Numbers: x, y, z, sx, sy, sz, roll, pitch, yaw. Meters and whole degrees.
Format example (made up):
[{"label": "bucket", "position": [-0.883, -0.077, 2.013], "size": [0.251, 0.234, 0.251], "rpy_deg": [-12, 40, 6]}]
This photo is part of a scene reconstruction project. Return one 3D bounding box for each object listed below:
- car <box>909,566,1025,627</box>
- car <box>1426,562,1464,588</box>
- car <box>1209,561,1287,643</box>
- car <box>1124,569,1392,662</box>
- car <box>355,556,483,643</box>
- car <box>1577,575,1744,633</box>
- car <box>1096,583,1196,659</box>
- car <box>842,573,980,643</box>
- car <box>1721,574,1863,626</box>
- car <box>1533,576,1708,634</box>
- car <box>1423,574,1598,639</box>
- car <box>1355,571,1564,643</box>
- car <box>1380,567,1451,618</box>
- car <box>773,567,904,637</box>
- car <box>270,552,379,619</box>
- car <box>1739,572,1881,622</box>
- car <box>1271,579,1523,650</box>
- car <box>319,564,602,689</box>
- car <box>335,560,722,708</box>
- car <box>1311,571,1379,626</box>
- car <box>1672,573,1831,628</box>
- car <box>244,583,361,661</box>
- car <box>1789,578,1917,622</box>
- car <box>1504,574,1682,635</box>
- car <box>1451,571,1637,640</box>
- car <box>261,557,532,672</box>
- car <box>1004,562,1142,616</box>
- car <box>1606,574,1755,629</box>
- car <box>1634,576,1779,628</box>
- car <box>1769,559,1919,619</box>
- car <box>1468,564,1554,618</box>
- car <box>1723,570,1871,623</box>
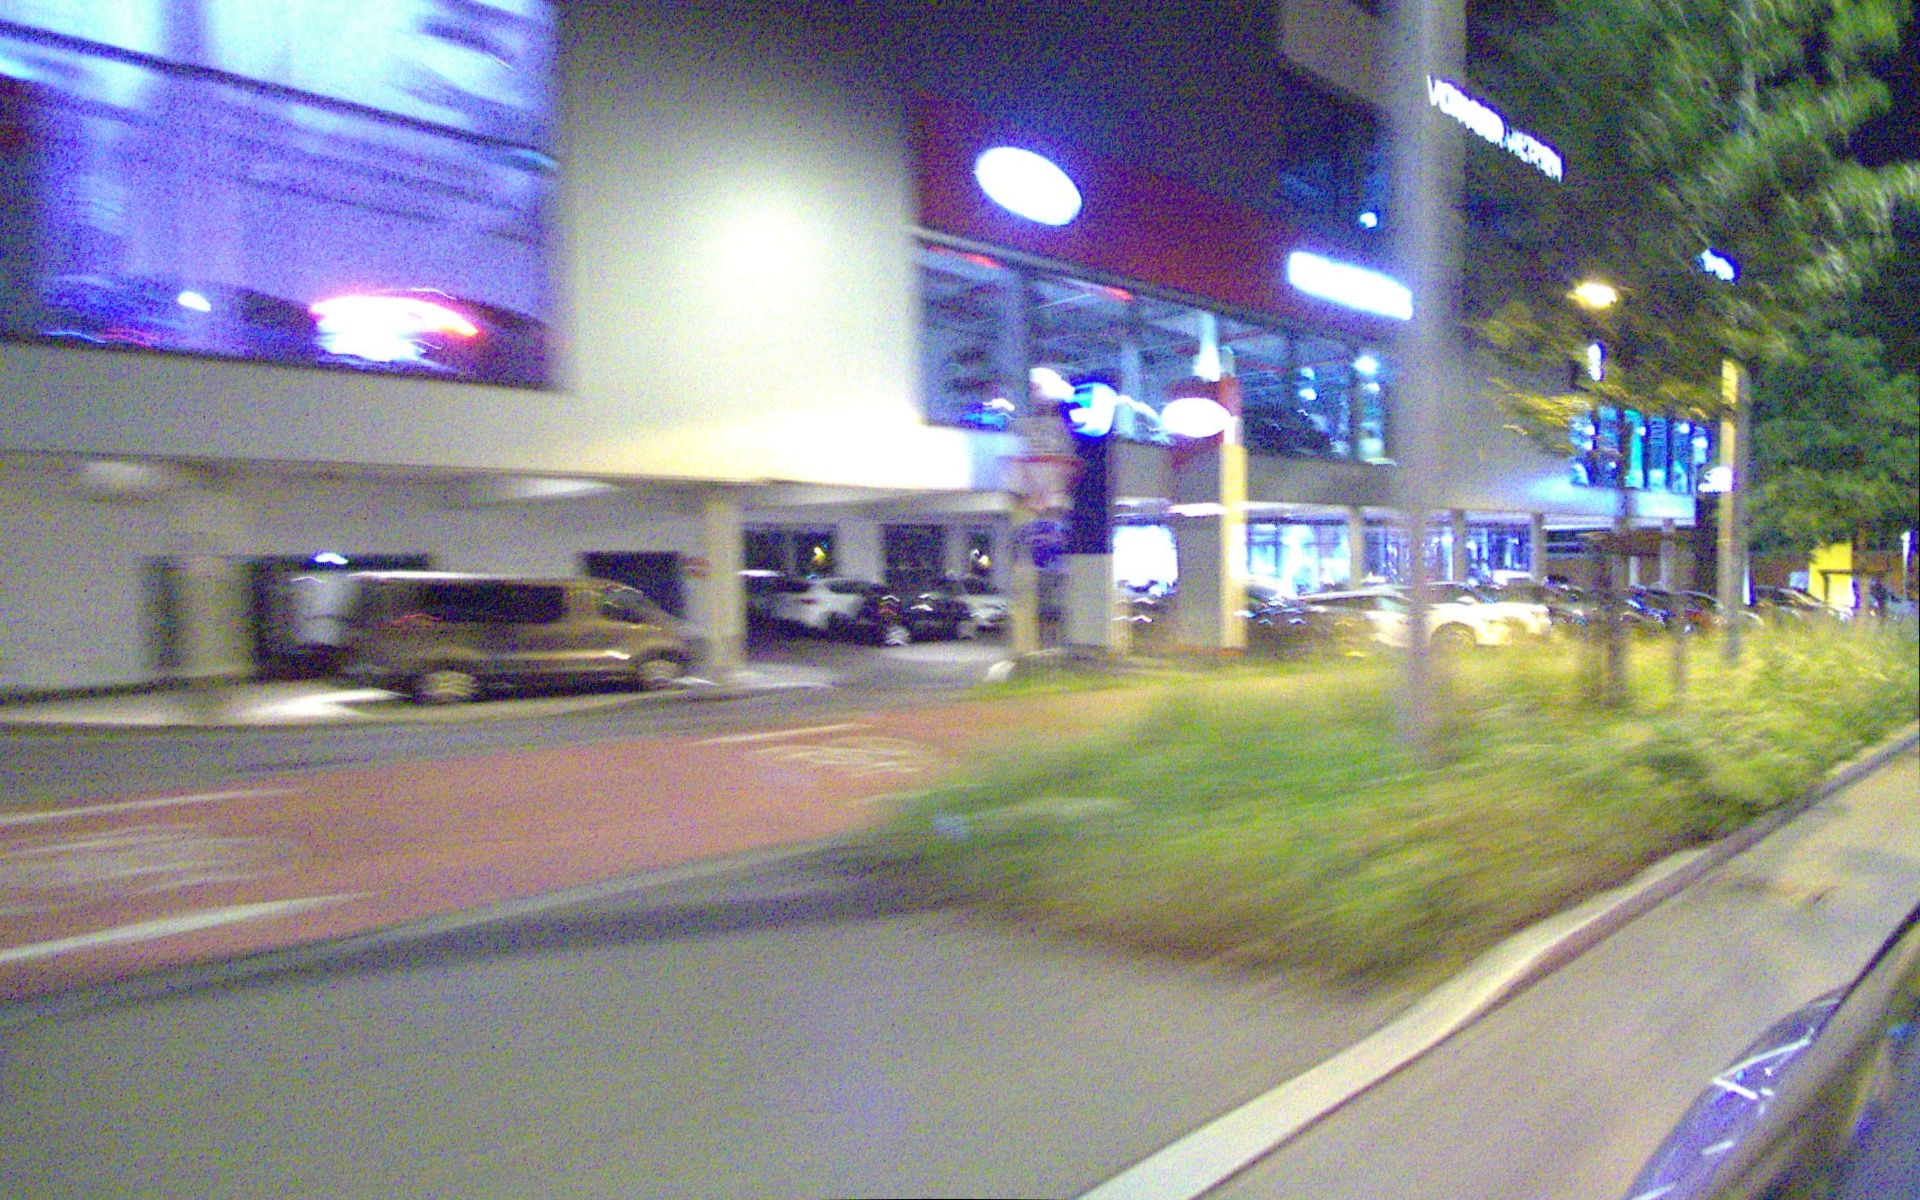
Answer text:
[{"label": "car", "position": [0.169, -0.164, 30.272], "size": [1.717, 1.604, 3.490], "rpy_deg": [-3, 4, -37]}, {"label": "car", "position": [32.422, -1.671, 67.567], "size": [1.983, 1.682, 4.621], "rpy_deg": [1, 2, 29]}, {"label": "car", "position": [7.211, -0.023, 25.650], "size": [1.564, 1.817, 3.860], "rpy_deg": [0, 4, 11]}, {"label": "car", "position": [5.120, 0.215, 17.649], "size": [4.114, 1.438, 1.851], "rpy_deg": [0, 1, 39]}, {"label": "car", "position": [-13.692, -0.044, 25.555], "size": [3.703, 2.039, 1.721], "rpy_deg": [1, 1, 42]}, {"label": "car", "position": [21.373, 0.082, 31.018], "size": [4.014, 1.390, 1.802], "rpy_deg": [6, 4, 36]}, {"label": "car", "position": [4.336, 0.391, 23.113], "size": [1.754, 1.426, 4.317], "rpy_deg": [0, 3, 17]}, {"label": "car", "position": [-1.222, 0.157, 26.324], "size": [3.362, 1.531, 1.634], "rpy_deg": [-4, 5, -44]}, {"label": "car", "position": [32.235, -0.045, 39.283], "size": [4.080, 1.587, 1.827], "rpy_deg": [7, 5, 42]}, {"label": "car", "position": [19.118, 0.100, 29.385], "size": [3.986, 1.397, 1.781], "rpy_deg": [5, 3, 42]}, {"label": "car", "position": [13.149, 0.112, 24.331], "size": [3.581, 1.451, 1.663], "rpy_deg": [1, 1, 29]}, {"label": "car", "position": [11.123, 0.120, 22.609], "size": [3.974, 1.442, 1.885], "rpy_deg": [1, 0, 35]}, {"label": "car", "position": [14.252, -0.265, 31.825], "size": [1.605, 1.482, 3.772], "rpy_deg": [1, 1, 18]}, {"label": "car", "position": [-3.288, 0.003, 27.616], "size": [3.247, 1.660, 1.635], "rpy_deg": [-3, 6, -44]}, {"label": "car", "position": [-20.970, -0.490, 33.307], "size": [4.585, 2.039, 2.041], "rpy_deg": [1, 1, 44]}, {"label": "car", "position": [36.223, -0.173, 43.231], "size": [4.459, 1.832, 1.970], "rpy_deg": [5, 3, 42]}, {"label": "car", "position": [8.989, 0.248, 20.983], "size": [4.600, 1.280, 1.929], "rpy_deg": [1, 0, 28]}, {"label": "car", "position": [-9.038, 0.394, 18.578], "size": [1.812, 2.018, 4.338], "rpy_deg": [1, 1, 45]}, {"label": "car", "position": [-6.864, 0.424, 16.640], "size": [5.536, 2.039, 1.995], "rpy_deg": [-1, 1, -44]}, {"label": "car", "position": [11.042, -0.066, 29.192], "size": [1.300, 1.505, 3.063], "rpy_deg": [1, 1, 11]}, {"label": "car", "position": [29.400, -0.046, 37.684], "size": [4.463, 1.565, 1.743], "rpy_deg": [8, 7, 43]}, {"label": "car", "position": [-14.829, 0.424, 22.754], "size": [1.590, 1.467, 3.728], "rpy_deg": [-3, 4, -42]}, {"label": "car", "position": [40.453, -0.034, 45.940], "size": [4.201, 1.683, 1.932], "rpy_deg": [5, 4, 42]}, {"label": "car", "position": [17.199, 0.080, 27.736], "size": [3.967, 1.409, 1.807], "rpy_deg": [3, 1, 30]}, {"label": "car", "position": [15.009, 0.088, 26.107], "size": [3.972, 1.488, 1.812], "rpy_deg": [4, 3, 33]}, {"label": "car", "position": [-11.037, 0.217, 20.019], "size": [1.952, 2.018, 4.338], "rpy_deg": [1, 1, 45]}, {"label": "car", "position": [3.686, -0.373, 32.906], "size": [4.259, 1.675, 1.650], "rpy_deg": [0, 1, 15]}, {"label": "car", "position": [23.323, -0.009, 32.831], "size": [3.764, 1.395, 1.692], "rpy_deg": [7, 5, 39]}, {"label": "car", "position": [25.286, 0.028, 34.358], "size": [3.796, 1.470, 1.694], "rpy_deg": [5, 3, 39]}, {"label": "car", "position": [46.777, -0.631, 53.452], "size": [6.004, 2.559, 2.255], "rpy_deg": [8, 5, 36]}, {"label": "car", "position": [21.110, -0.360, 38.985], "size": [1.809, 1.942, 4.806], "rpy_deg": [0, 1, 15]}, {"label": "car", "position": [34.202, -0.178, 41.439], "size": [4.461, 1.707, 1.970], "rpy_deg": [8, 5, 42]}]
